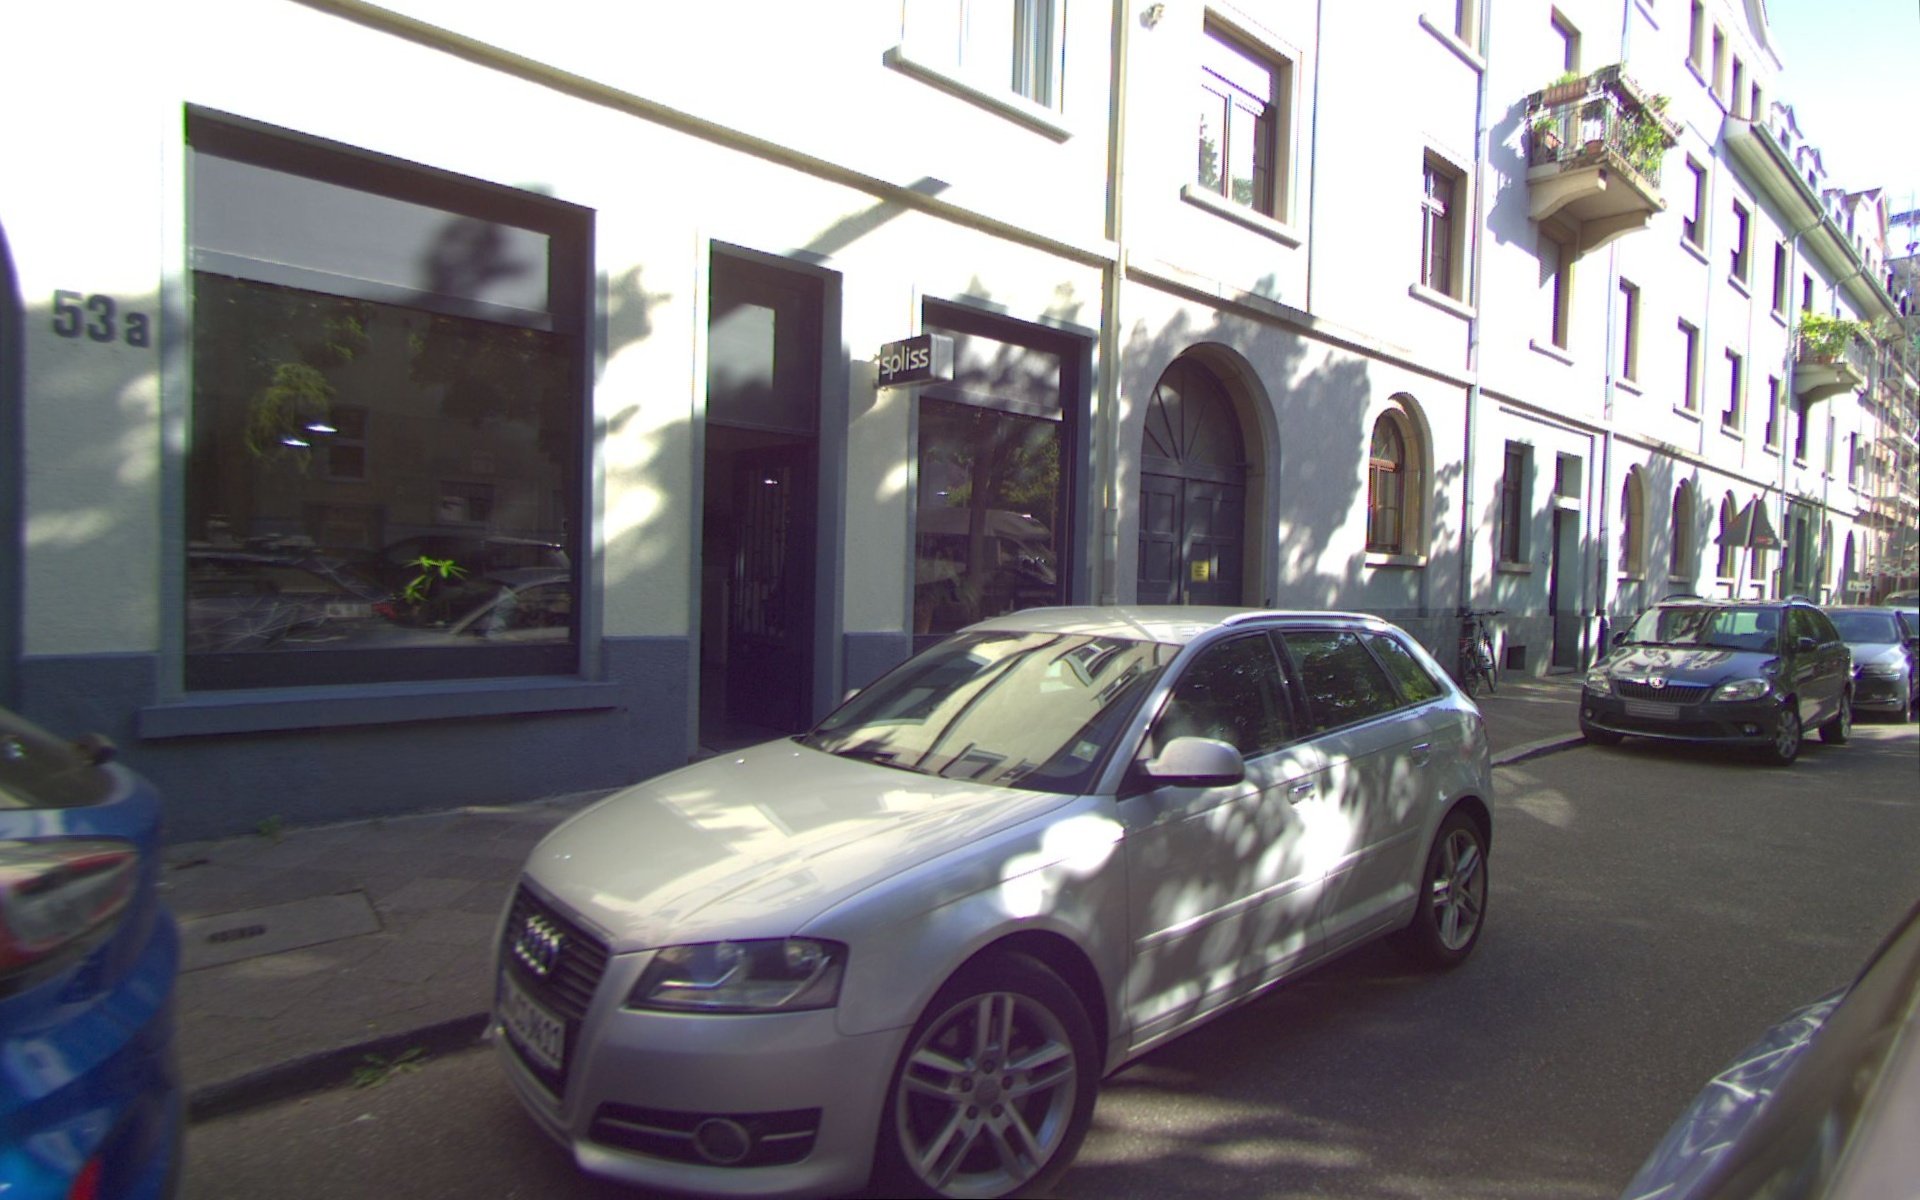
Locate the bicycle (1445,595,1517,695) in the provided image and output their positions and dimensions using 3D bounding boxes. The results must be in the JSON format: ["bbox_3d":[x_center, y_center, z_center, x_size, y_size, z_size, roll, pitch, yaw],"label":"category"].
[{"bbox_3d":[6.733,0.545,13.050,0.406,1.201,1.821,2,1,40],"label":"bicycle"}]

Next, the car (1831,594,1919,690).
[{"bbox_3d":[16.434,0.672,17.375,4.489,1.437,1.610,0,2,-42],"label":"car"}]

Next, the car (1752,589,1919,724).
[{"bbox_3d":[12.161,0.659,13.686,3.898,1.511,1.602,0,2,-42],"label":"car"}]

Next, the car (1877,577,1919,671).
[{"bbox_3d":[20.402,0.506,20.841,3.920,1.816,1.774,0,2,-42],"label":"car"}]

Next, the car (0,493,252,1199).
[{"bbox_3d":[-3.080,0.642,0.679,4.110,1.571,1.770,0,0,-41],"label":"car"}]

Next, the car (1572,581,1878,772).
[{"bbox_3d":[7.913,0.641,10.338,3.969,1.570,1.584,0,1,-39],"label":"car"}]

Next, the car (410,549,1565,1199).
[{"bbox_3d":[0.490,0.621,3.792,4.215,1.449,1.773,0,1,-40],"label":"car"}]
